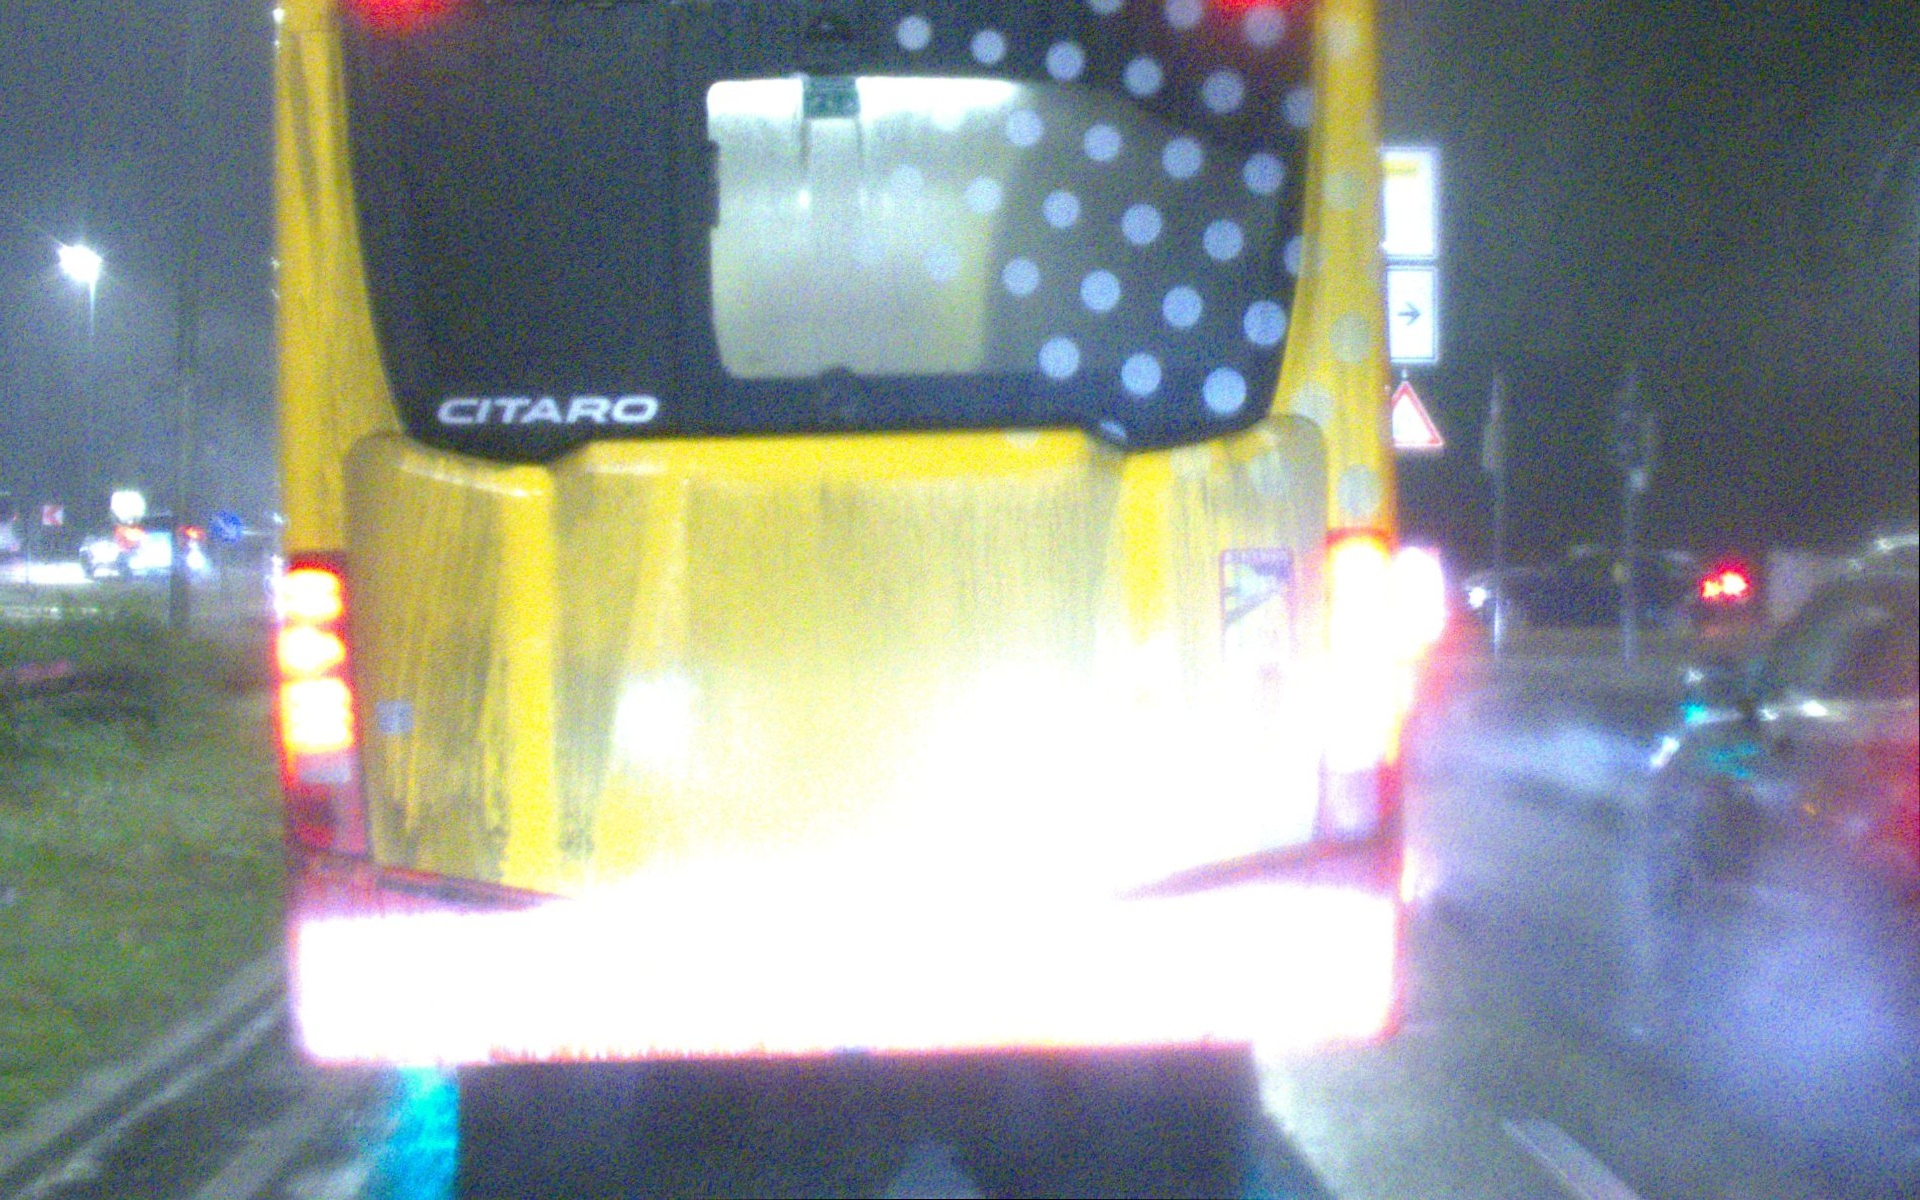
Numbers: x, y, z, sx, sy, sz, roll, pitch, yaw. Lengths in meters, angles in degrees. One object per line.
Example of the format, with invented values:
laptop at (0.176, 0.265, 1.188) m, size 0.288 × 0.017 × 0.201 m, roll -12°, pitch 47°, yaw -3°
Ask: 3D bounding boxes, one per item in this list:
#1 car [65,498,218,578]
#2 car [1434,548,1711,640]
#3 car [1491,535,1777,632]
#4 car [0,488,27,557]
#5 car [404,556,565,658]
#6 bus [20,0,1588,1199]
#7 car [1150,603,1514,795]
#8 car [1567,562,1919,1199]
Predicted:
car at (-17.756, -1.330, 74.490) m, size 2.089 × 1.638 × 3.730 m, roll 1°, pitch 0°, yaw -32°
car at (9.908, -0.110, 55.740) m, size 4.041 × 1.341 × 1.747 m, roll 1°, pitch 2°, yaw -6°
car at (11.711, -0.296, 59.855) m, size 4.482 × 1.513 × 1.857 m, roll 1°, pitch 2°, yaw -6°
car at (-25.394, -1.995, 88.470) m, size 1.993 × 1.715 × 4.001 m, roll 1°, pitch 0°, yaw -25°
car at (-7.916, 0.098, 56.975) m, size 1.815 × 1.612 × 4.001 m, roll 1°, pitch 0°, yaw -20°
bus at (-0.623, -0.301, 12.000) m, size 3.284 × 3.040 × 9.546 m, roll 0°, pitch 2°, yaw -4°
car at (2.748, 0.707, 26.274) m, size 1.685 × 1.326 × 3.961 m, roll 1°, pitch 0°, yaw -10°
car at (2.992, 0.682, 9.806) m, size 1.677 × 1.516 × 3.960 m, roll 1°, pitch 0°, yaw -2°
